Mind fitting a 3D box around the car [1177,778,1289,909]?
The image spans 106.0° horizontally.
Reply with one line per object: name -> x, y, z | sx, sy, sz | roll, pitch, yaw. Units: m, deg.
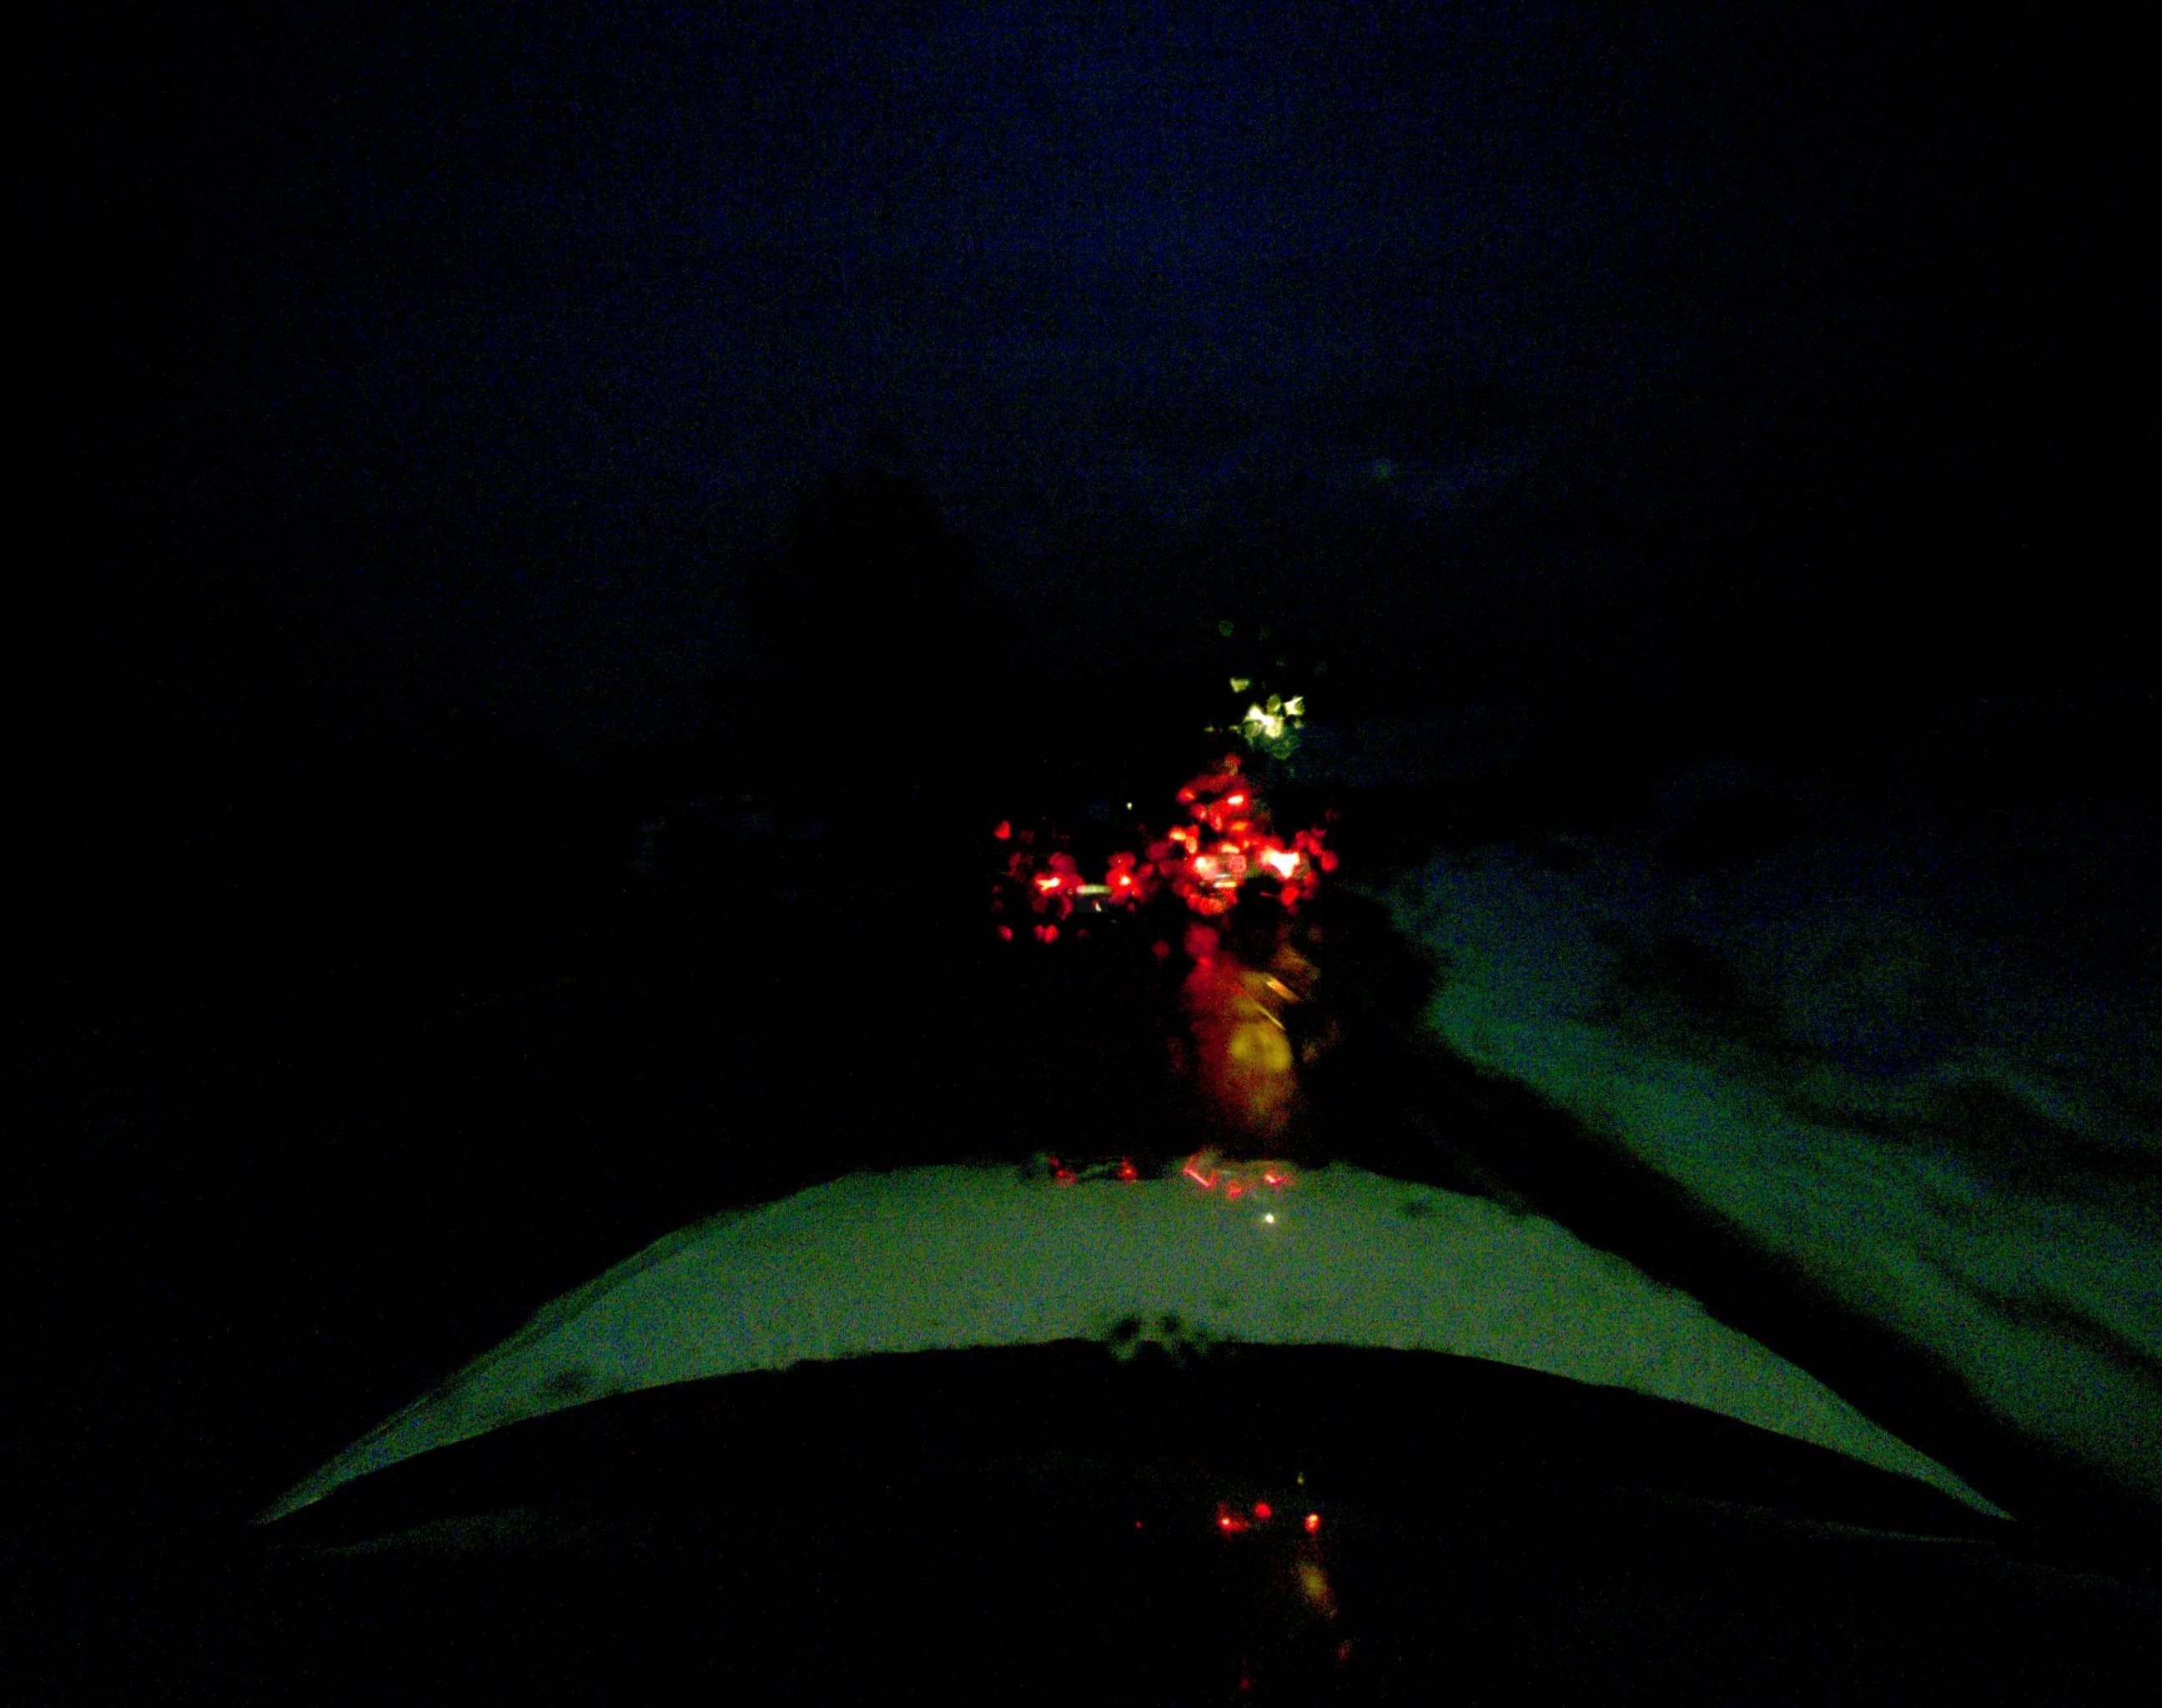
car -> 3.894, -0.277, 21.887 | 2.423, 3.018, 5.334 | -2, 1, 5

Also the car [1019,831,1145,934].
car -> 0.078, 0.516, 17.268 | 2.266, 1.840, 5.008 | -1, 0, 1

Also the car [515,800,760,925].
car -> -10.389, 0.160, 19.923 | 2.460, 2.571, 6.230 | 0, 0, 1
